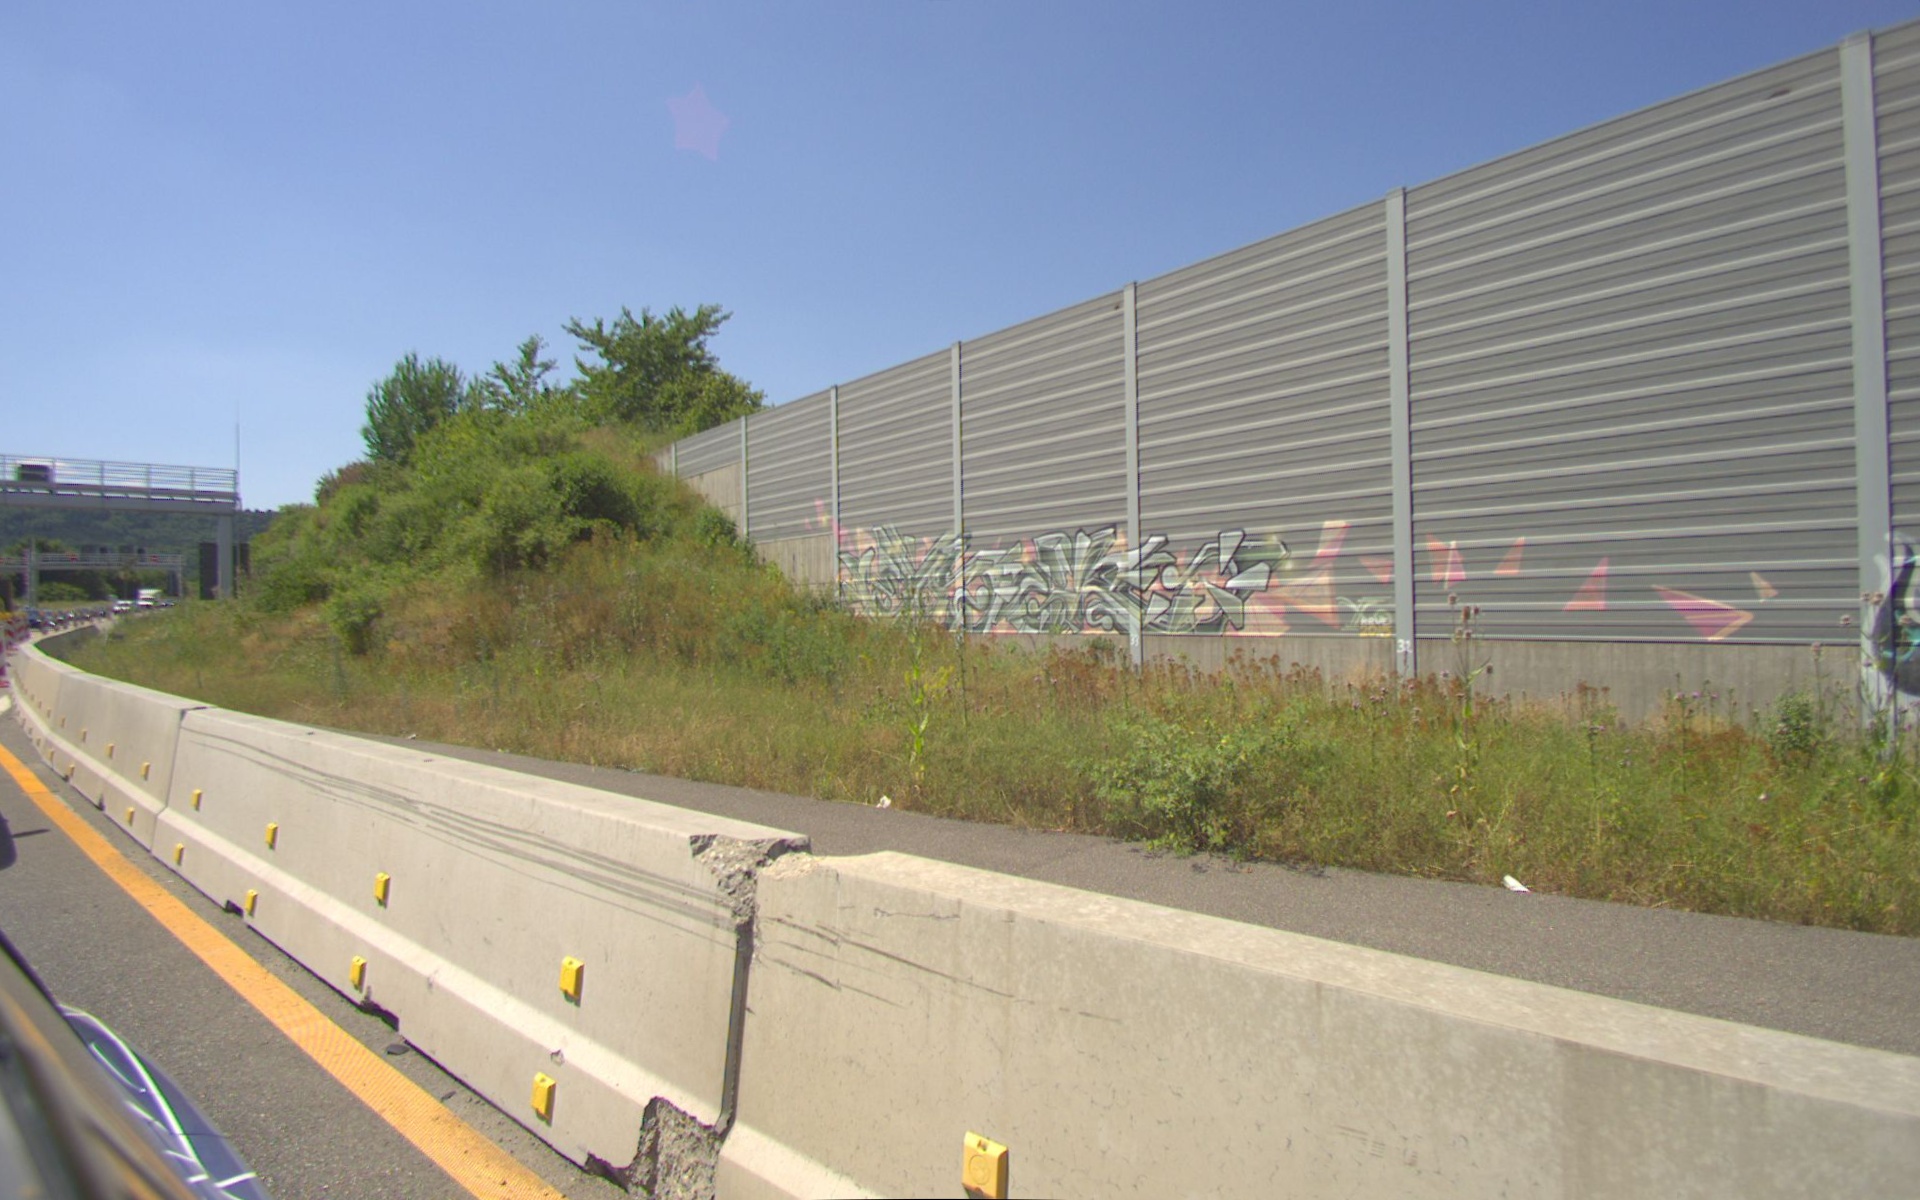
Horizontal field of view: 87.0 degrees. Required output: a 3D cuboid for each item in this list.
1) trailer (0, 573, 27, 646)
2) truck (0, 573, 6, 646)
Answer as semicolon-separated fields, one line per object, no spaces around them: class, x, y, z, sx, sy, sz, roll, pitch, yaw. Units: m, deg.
trailer;-54.476;0.701;55.923;3.188;3.695;17.452;-2;0;-39
truck;-49.003;0.481;49.226;3.181;3.688;7.095;-2;0;-40
